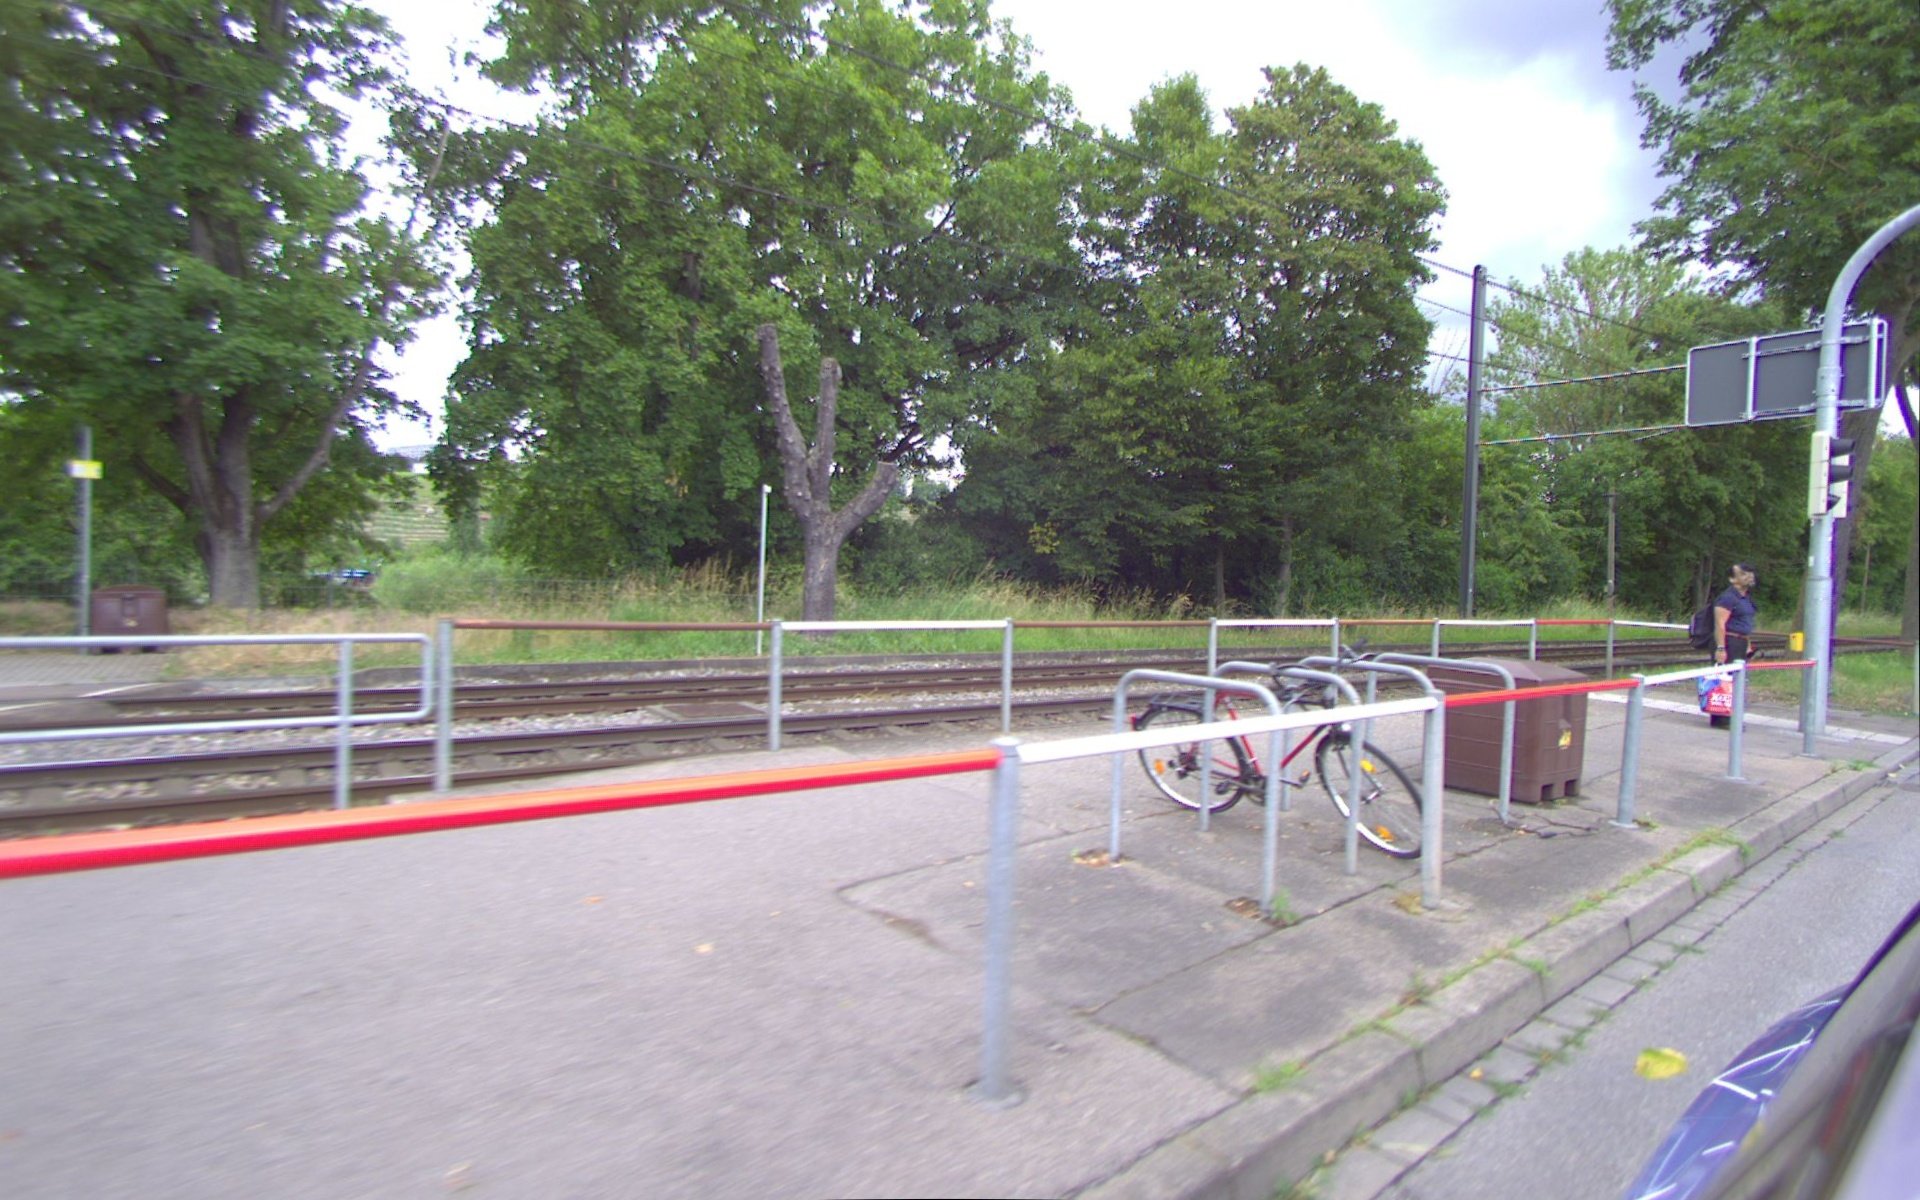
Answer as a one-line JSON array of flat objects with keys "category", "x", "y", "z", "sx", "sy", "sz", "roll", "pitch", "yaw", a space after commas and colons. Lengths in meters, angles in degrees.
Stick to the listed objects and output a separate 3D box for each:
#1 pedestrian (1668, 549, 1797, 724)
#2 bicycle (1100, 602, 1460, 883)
[{"category": "pedestrian", "x": 8.272, "y": 0.362, "z": 10.850, "sx": 0.823, "sy": 1.758, "sz": 0.755, "roll": 1, "pitch": 3, "yaw": -32}, {"category": "bicycle", "x": 1.586, "y": 0.630, "z": 5.277, "sx": 0.591, "sy": 1.103, "sz": 1.679, "roll": 0, "pitch": 4, "yaw": -40}]
